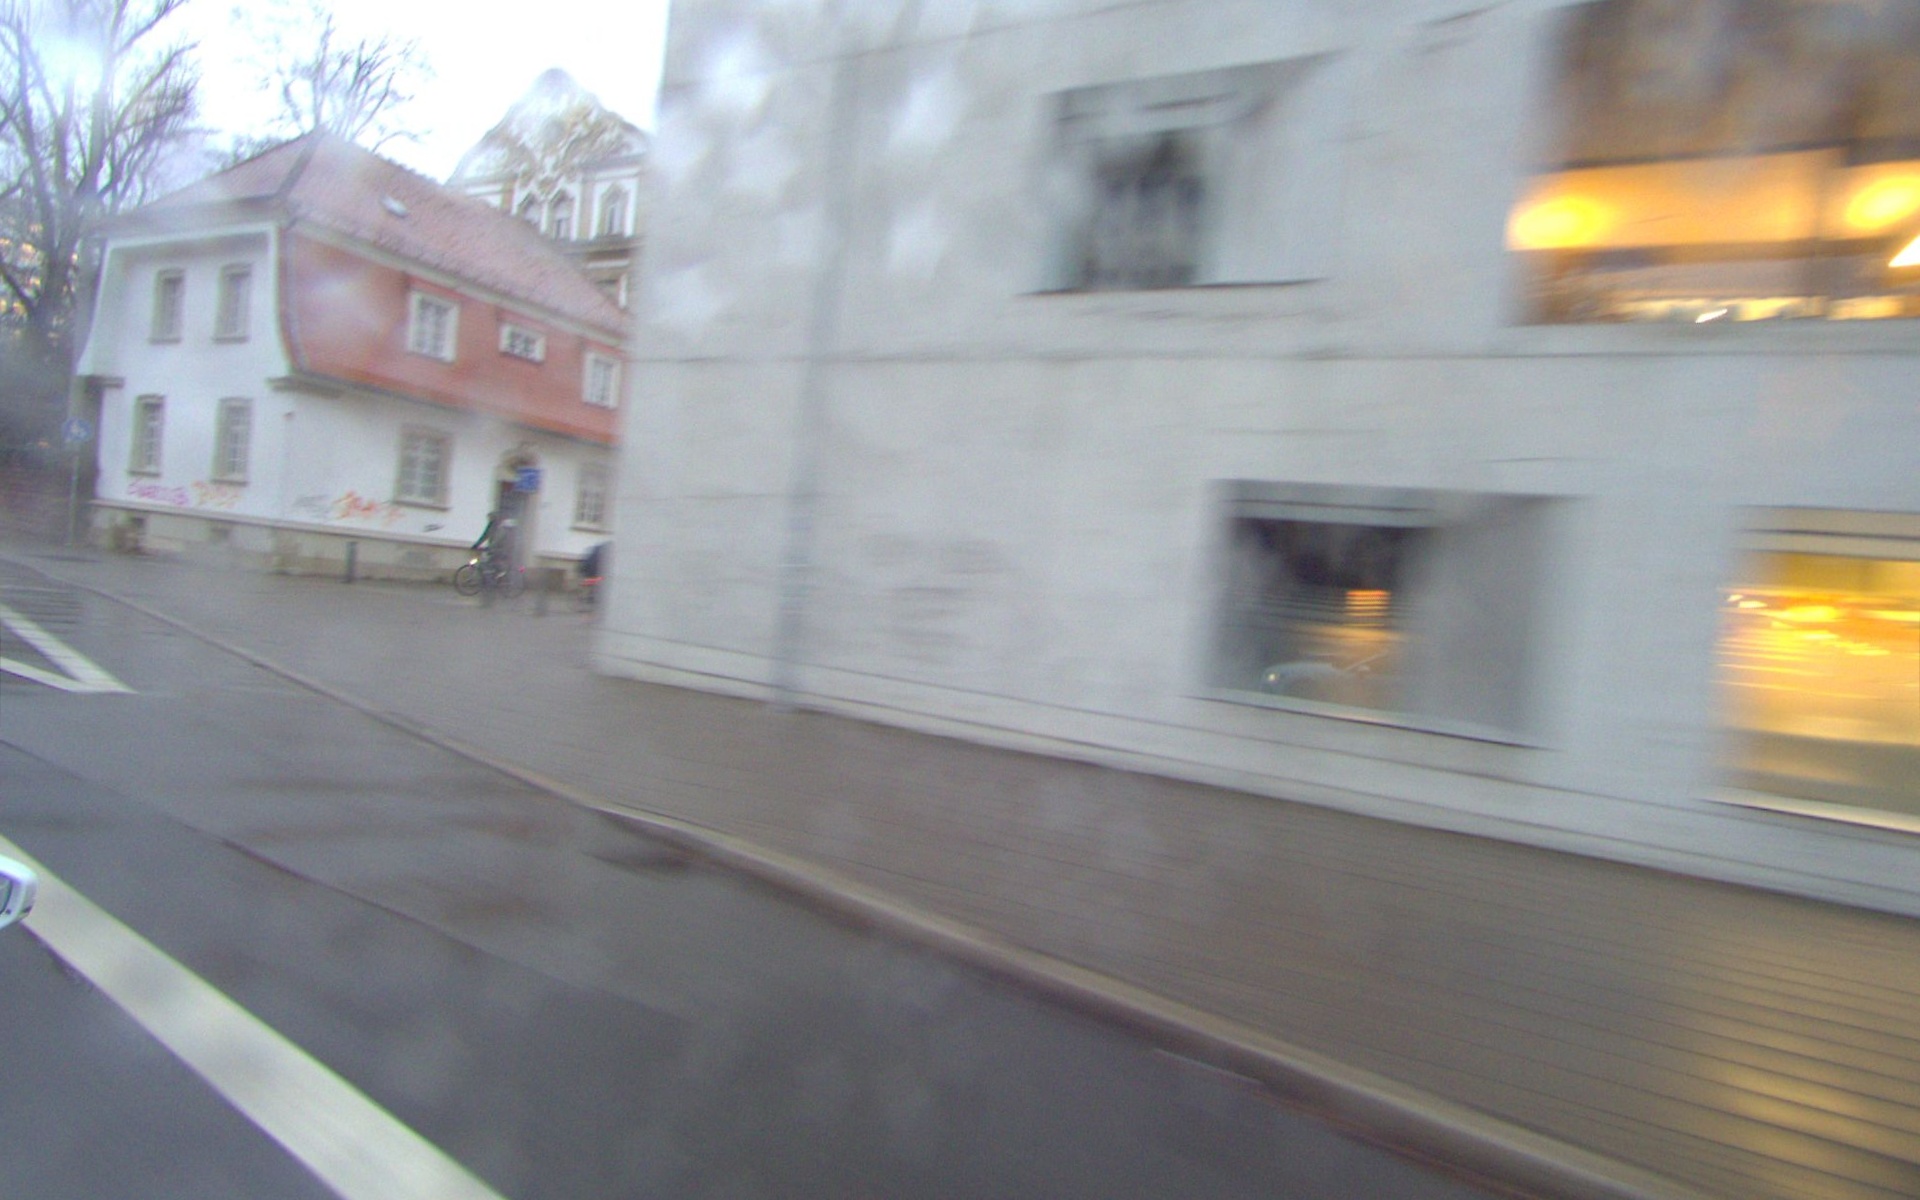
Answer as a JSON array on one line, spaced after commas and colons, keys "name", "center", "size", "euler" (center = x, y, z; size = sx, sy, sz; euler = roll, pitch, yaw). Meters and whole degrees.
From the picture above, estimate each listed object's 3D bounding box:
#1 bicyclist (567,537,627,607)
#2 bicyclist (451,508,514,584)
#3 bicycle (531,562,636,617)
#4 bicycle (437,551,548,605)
[{"name": "bicyclist", "center": [-8.268, -0.632, 22.922], "size": [0.725, 1.426, 0.860], "euler": [6, -1, 33]}, {"name": "bicyclist", "center": [-11.074, -1.253, 23.344], "size": [0.768, 1.614, 0.855], "euler": [6, -1, 32]}, {"name": "bicycle", "center": [-8.493, -0.225, 22.764], "size": [0.890, 0.957, 2.016], "euler": [6, -2, 33]}, {"name": "bicycle", "center": [-10.933, -0.492, 23.592], "size": [0.928, 0.955, 2.120], "euler": [6, -2, 31]}]
